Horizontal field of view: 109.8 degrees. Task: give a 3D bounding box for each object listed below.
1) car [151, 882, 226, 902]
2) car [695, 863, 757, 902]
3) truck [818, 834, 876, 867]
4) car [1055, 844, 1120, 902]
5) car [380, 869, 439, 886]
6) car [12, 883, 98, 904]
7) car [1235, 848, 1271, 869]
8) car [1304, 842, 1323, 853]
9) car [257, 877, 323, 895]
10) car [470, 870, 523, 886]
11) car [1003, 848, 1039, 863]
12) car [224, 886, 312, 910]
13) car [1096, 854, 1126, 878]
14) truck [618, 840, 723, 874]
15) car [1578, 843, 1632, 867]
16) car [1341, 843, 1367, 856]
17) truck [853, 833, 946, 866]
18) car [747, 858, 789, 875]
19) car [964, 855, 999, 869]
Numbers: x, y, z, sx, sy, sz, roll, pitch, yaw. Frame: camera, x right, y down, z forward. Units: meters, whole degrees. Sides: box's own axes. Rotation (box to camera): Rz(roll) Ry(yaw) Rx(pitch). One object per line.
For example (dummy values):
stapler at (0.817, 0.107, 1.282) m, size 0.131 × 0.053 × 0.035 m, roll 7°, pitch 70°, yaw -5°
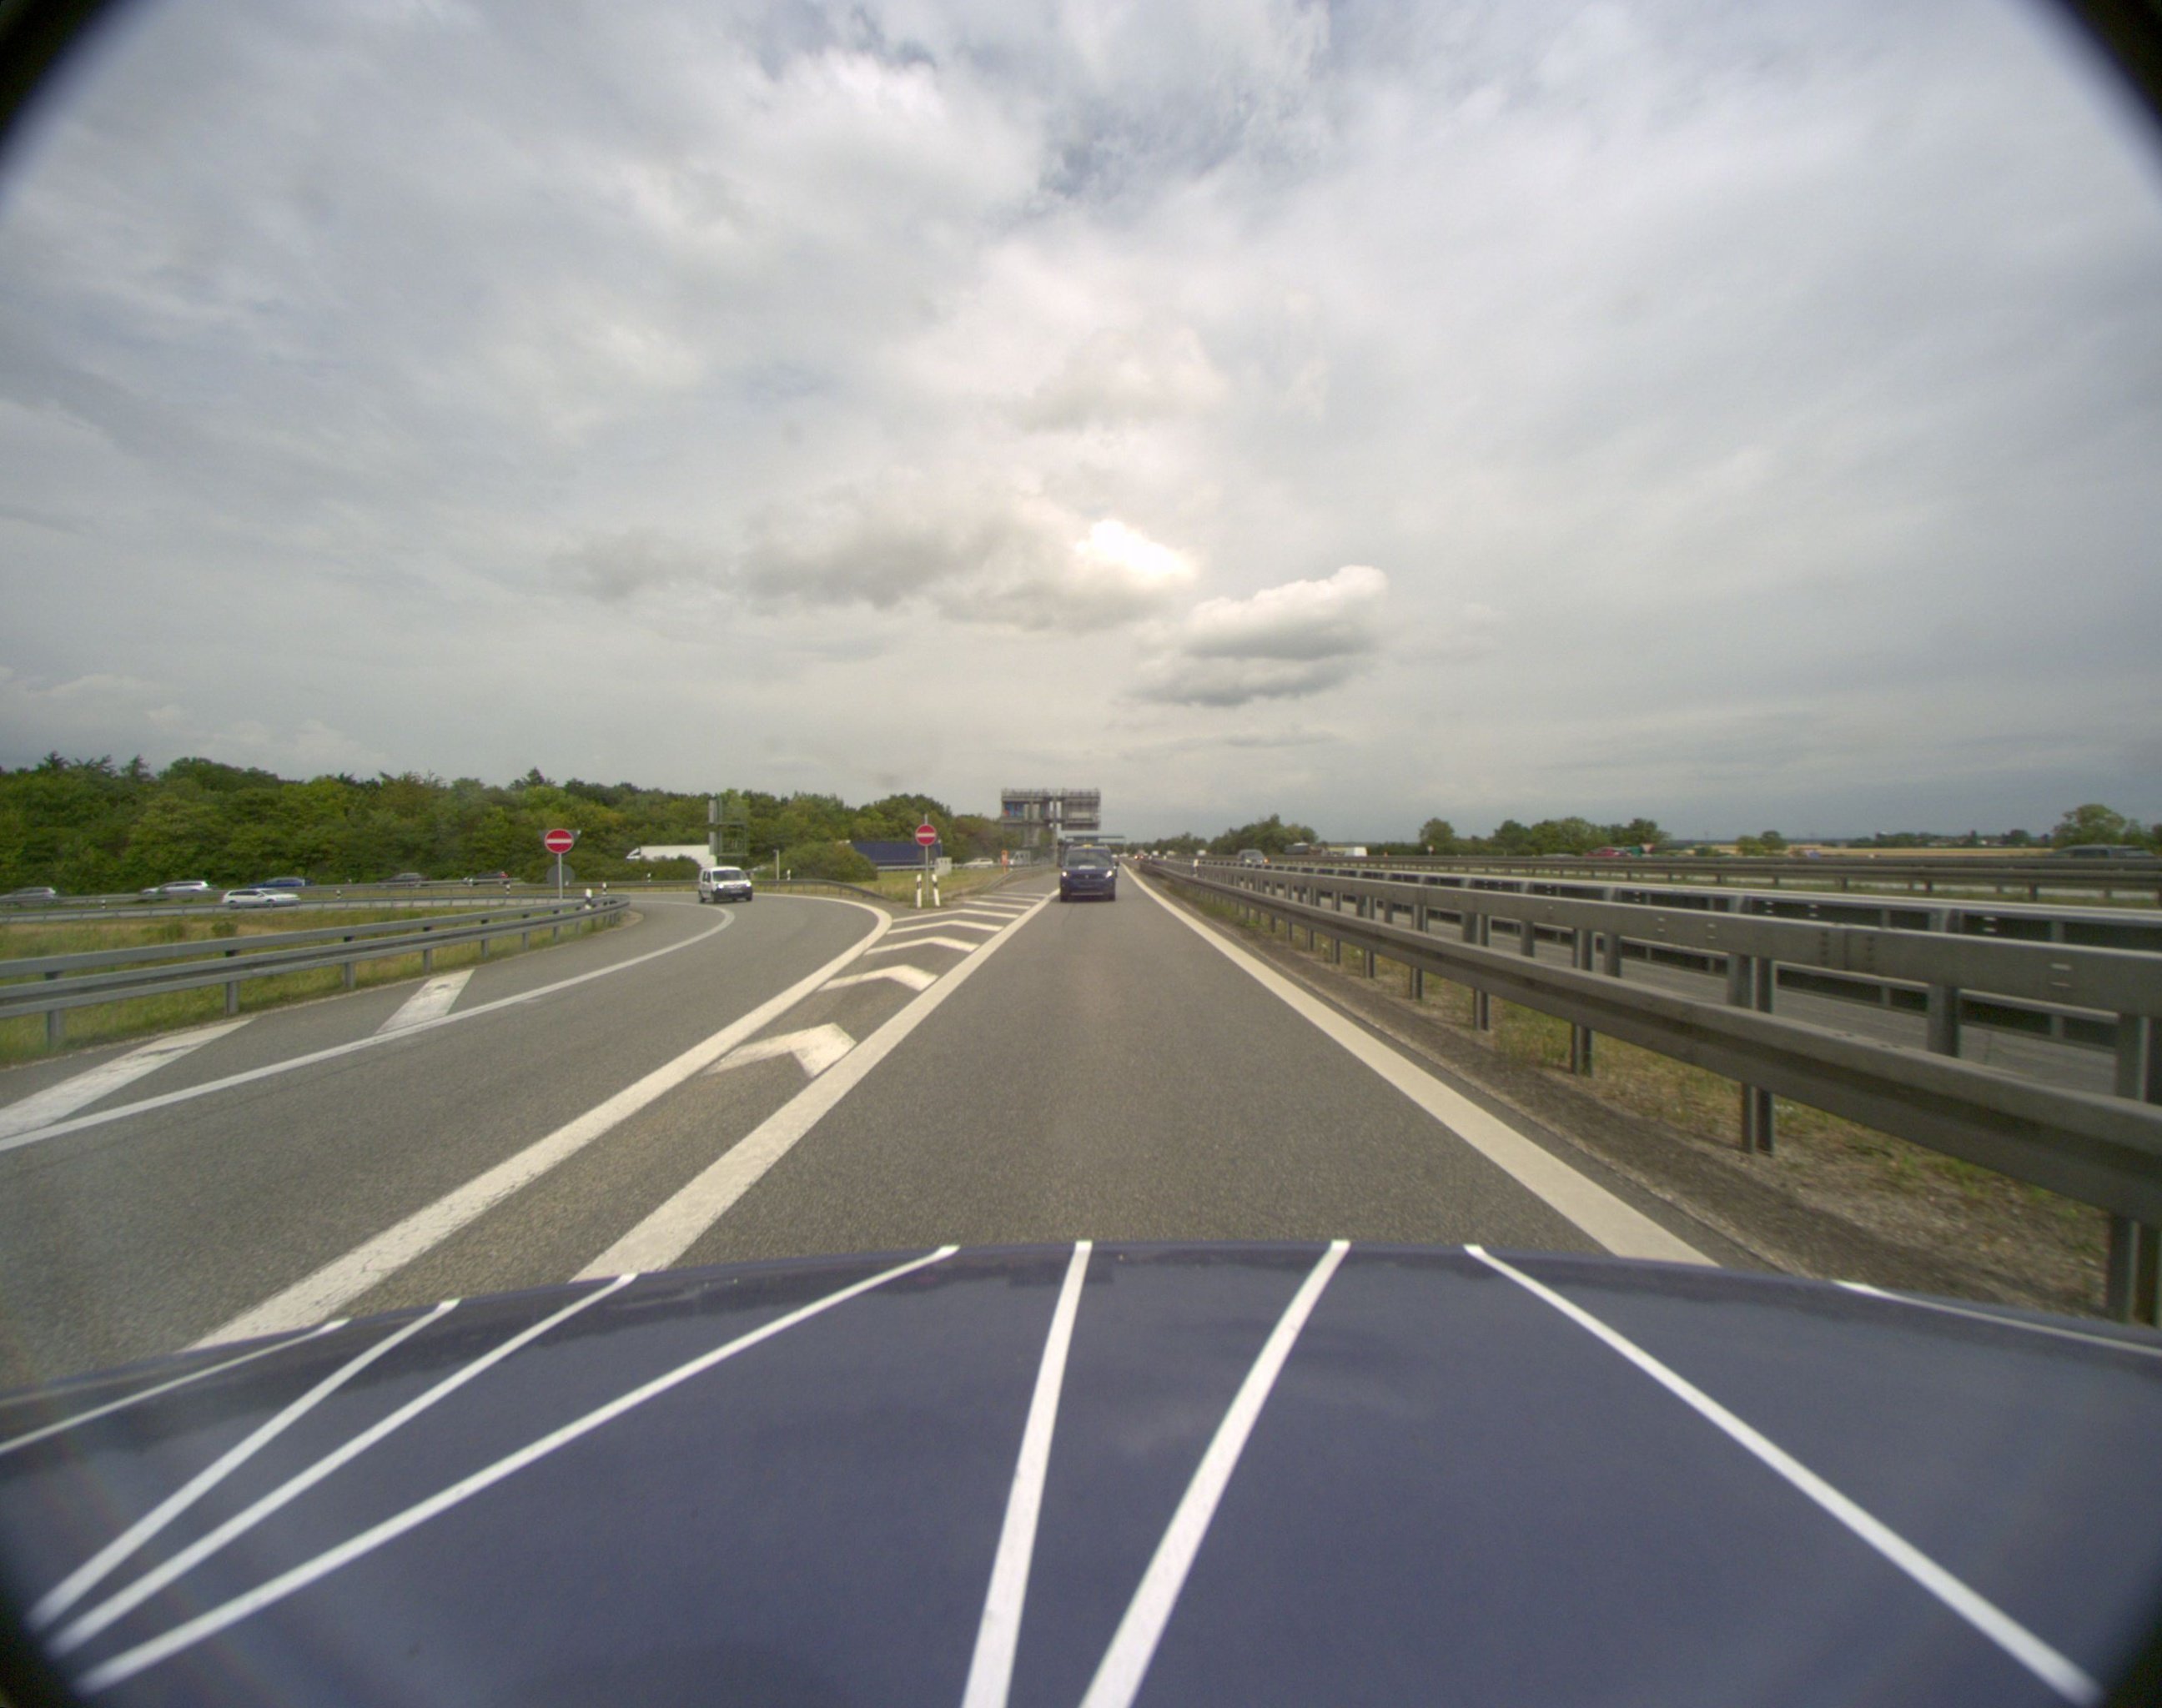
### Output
car at (-81.216, 3.438, 69.232) m, size 4.005 × 1.548 × 1.795 m, roll -3°, pitch 1°, yaw -28°
car at (-17.567, 1.375, 37.529) m, size 1.866 × 1.736 × 3.989 m, roll -3°, pitch 1°, yaw -38°
truck at (-28.711, -0.406, 93.266) m, size 5.939 × 3.780 × 2.894 m, roll -3°, pitch 0°, yaw -44°
car at (0.196, 0.584, 26.006) m, size 1.999 × 1.783 × 3.999 m, roll -2°, pitch 1°, yaw 0°
car at (-66.947, 2.303, 75.822) m, size 4.004 × 1.442 × 1.555 m, roll -3°, pitch 1°, yaw -24°
car at (-88.019, 3.360, 65.266) m, size 4.005 × 1.471 × 1.700 m, roll -3°, pitch 1°, yaw -29°
car at (14.214, 0.334, 62.966) m, size 1.886 × 1.537 × 4.614 m, roll -2°, pitch 1°, yaw -1°
car at (41.158, -1.172, 134.539) m, size 1.831 × 1.849 × 3.998 m, roll -2°, pitch 1°, yaw -4°
car at (-74.653, 3.012, 71.797) m, size 4.005 × 1.485 × 1.555 m, roll -3°, pitch 1°, yaw -29°
car at (-59.733, 2.392, 77.690) m, size 4.004 × 1.392 × 1.556 m, roll -2°, pitch 1°, yaw -21°
car at (-8.945, 0.181, 113.740) m, size 1.995 × 2.002 × 5.964 m, roll -2°, pitch 1°, yaw 33°
car at (-62.168, 3.317, 58.174) m, size 4.482 × 1.532 × 1.725 m, roll -2°, pitch 1°, yaw -6°
car at (1.937, 0.752, 50.300) m, size 1.747 × 1.381 × 3.999 m, roll -2°, pitch 2°, yaw 0°
truck at (-45.270, 0.307, 84.138) m, size 9.887 × 3.383 × 2.690 m, roll -3°, pitch 1°, yaw -24°
car at (43.821, 0.073, 63.670) m, size 1.802 × 1.849 × 4.000 m, roll -2°, pitch 1°, yaw 1°
car at (41.300, -0.740, 115.055) m, size 2.107 × 1.849 × 4.749 m, roll -2°, pitch 1°, yaw -1°
truck at (-23.321, -0.610, 98.565) m, size 11.814 × 3.836 × 2.839 m, roll -3°, pitch 1°, yaw -44°
car at (-33.877, 1.340, 82.289) m, size 4.005 × 1.540 × 1.734 m, roll -3°, pitch 1°, yaw -29°
car at (-13.904, 1.095, 106.226) m, size 4.505 × 1.774 × 1.994 m, roll -3°, pitch 1°, yaw -44°
